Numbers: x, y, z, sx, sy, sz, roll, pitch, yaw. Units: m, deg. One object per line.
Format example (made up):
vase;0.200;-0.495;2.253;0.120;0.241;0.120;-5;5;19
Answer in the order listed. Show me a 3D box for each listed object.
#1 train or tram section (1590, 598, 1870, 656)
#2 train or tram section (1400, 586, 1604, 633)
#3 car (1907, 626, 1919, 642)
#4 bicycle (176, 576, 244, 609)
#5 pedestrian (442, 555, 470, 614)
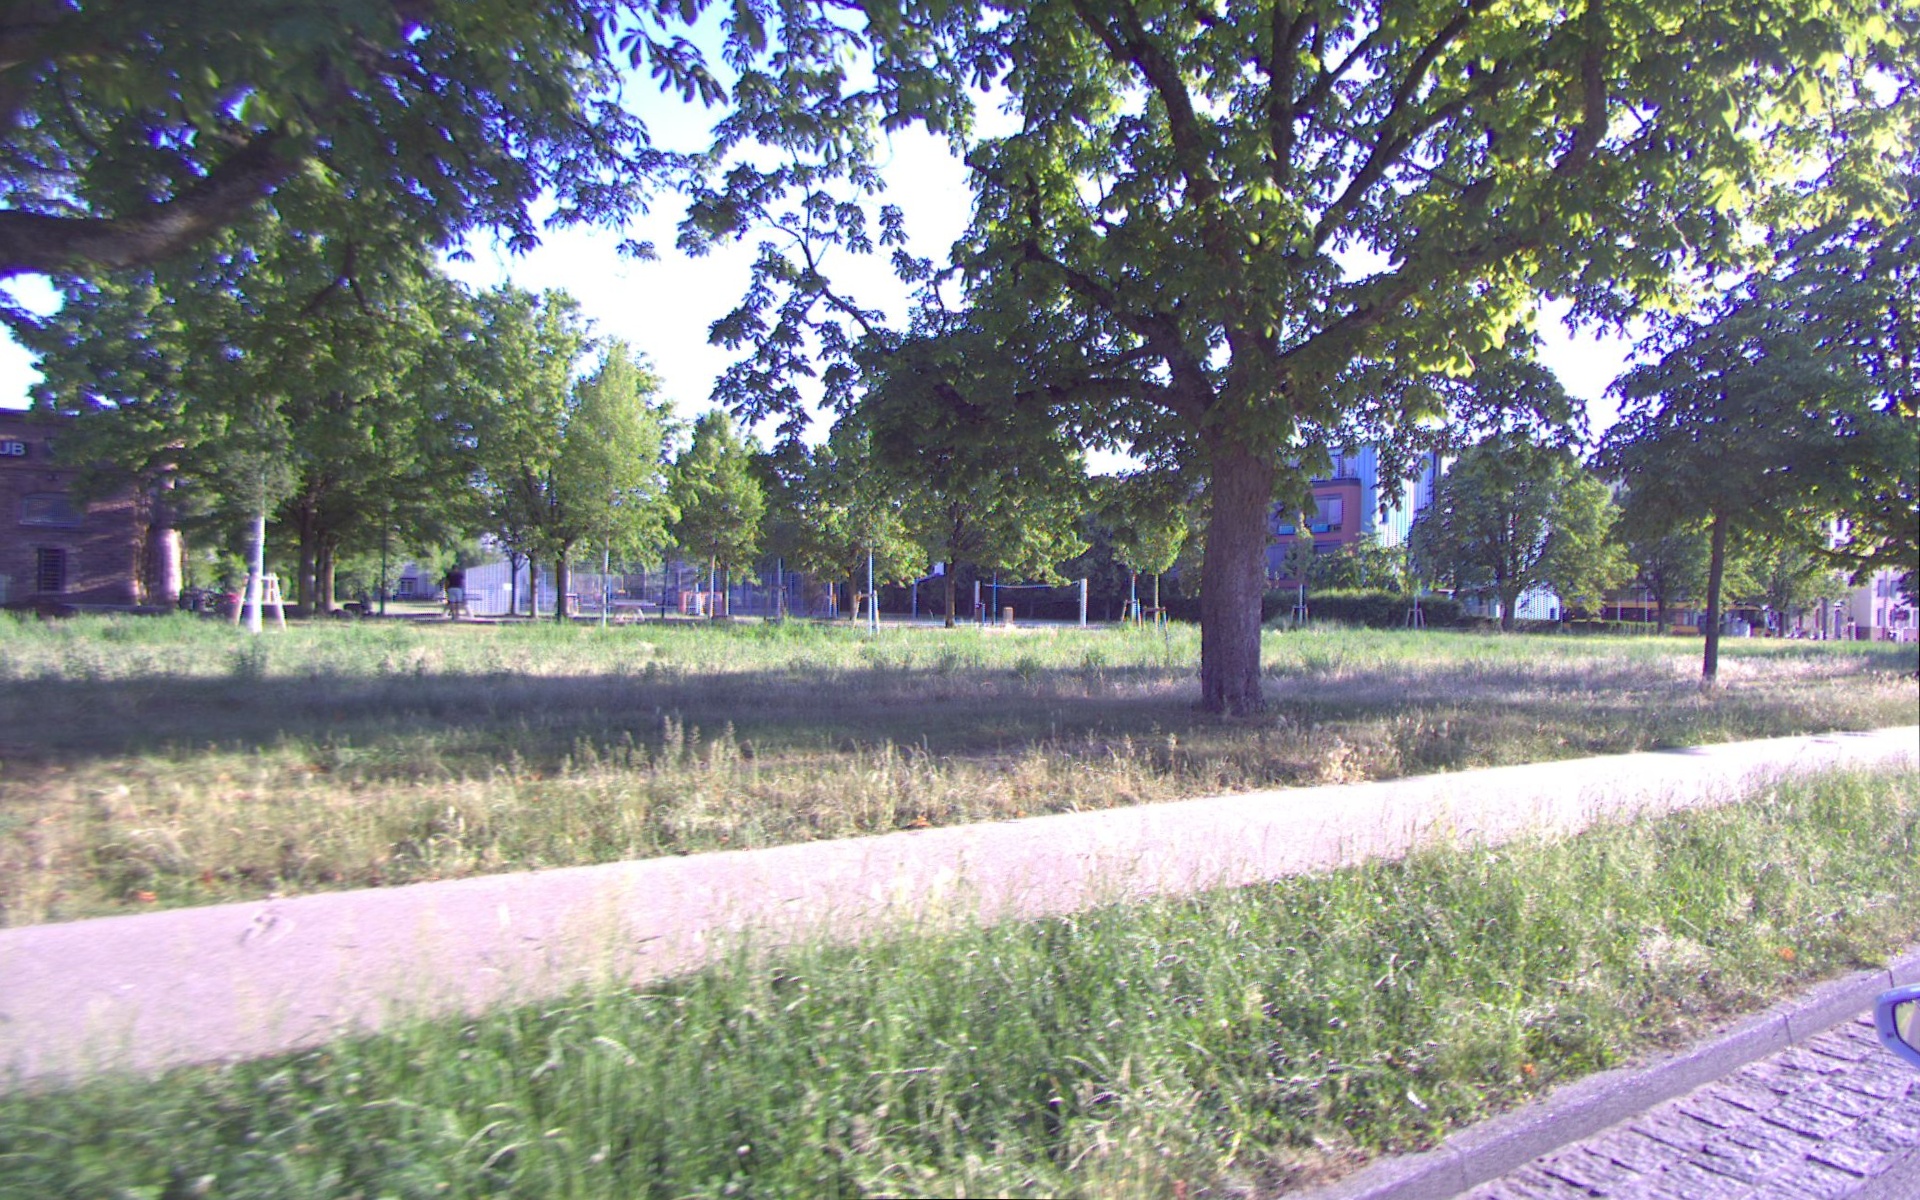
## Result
train or tram section;68.300;2.200;90.312;3.613;4.009;19.621;2;1;-39
train or tram section;56.237;0.839;105.401;3.612;4.009;18.920;2;1;-38
car;111.004;3.949;114.222;1.976;1.788;4.327;2;1;-29
bicycle;-30.727;-0.300;41.196;2.123;1.287;0.681;2;1;-29
pedestrian;-16.884;-0.529;33.642;0.788;1.906;1.044;2;1;-28
